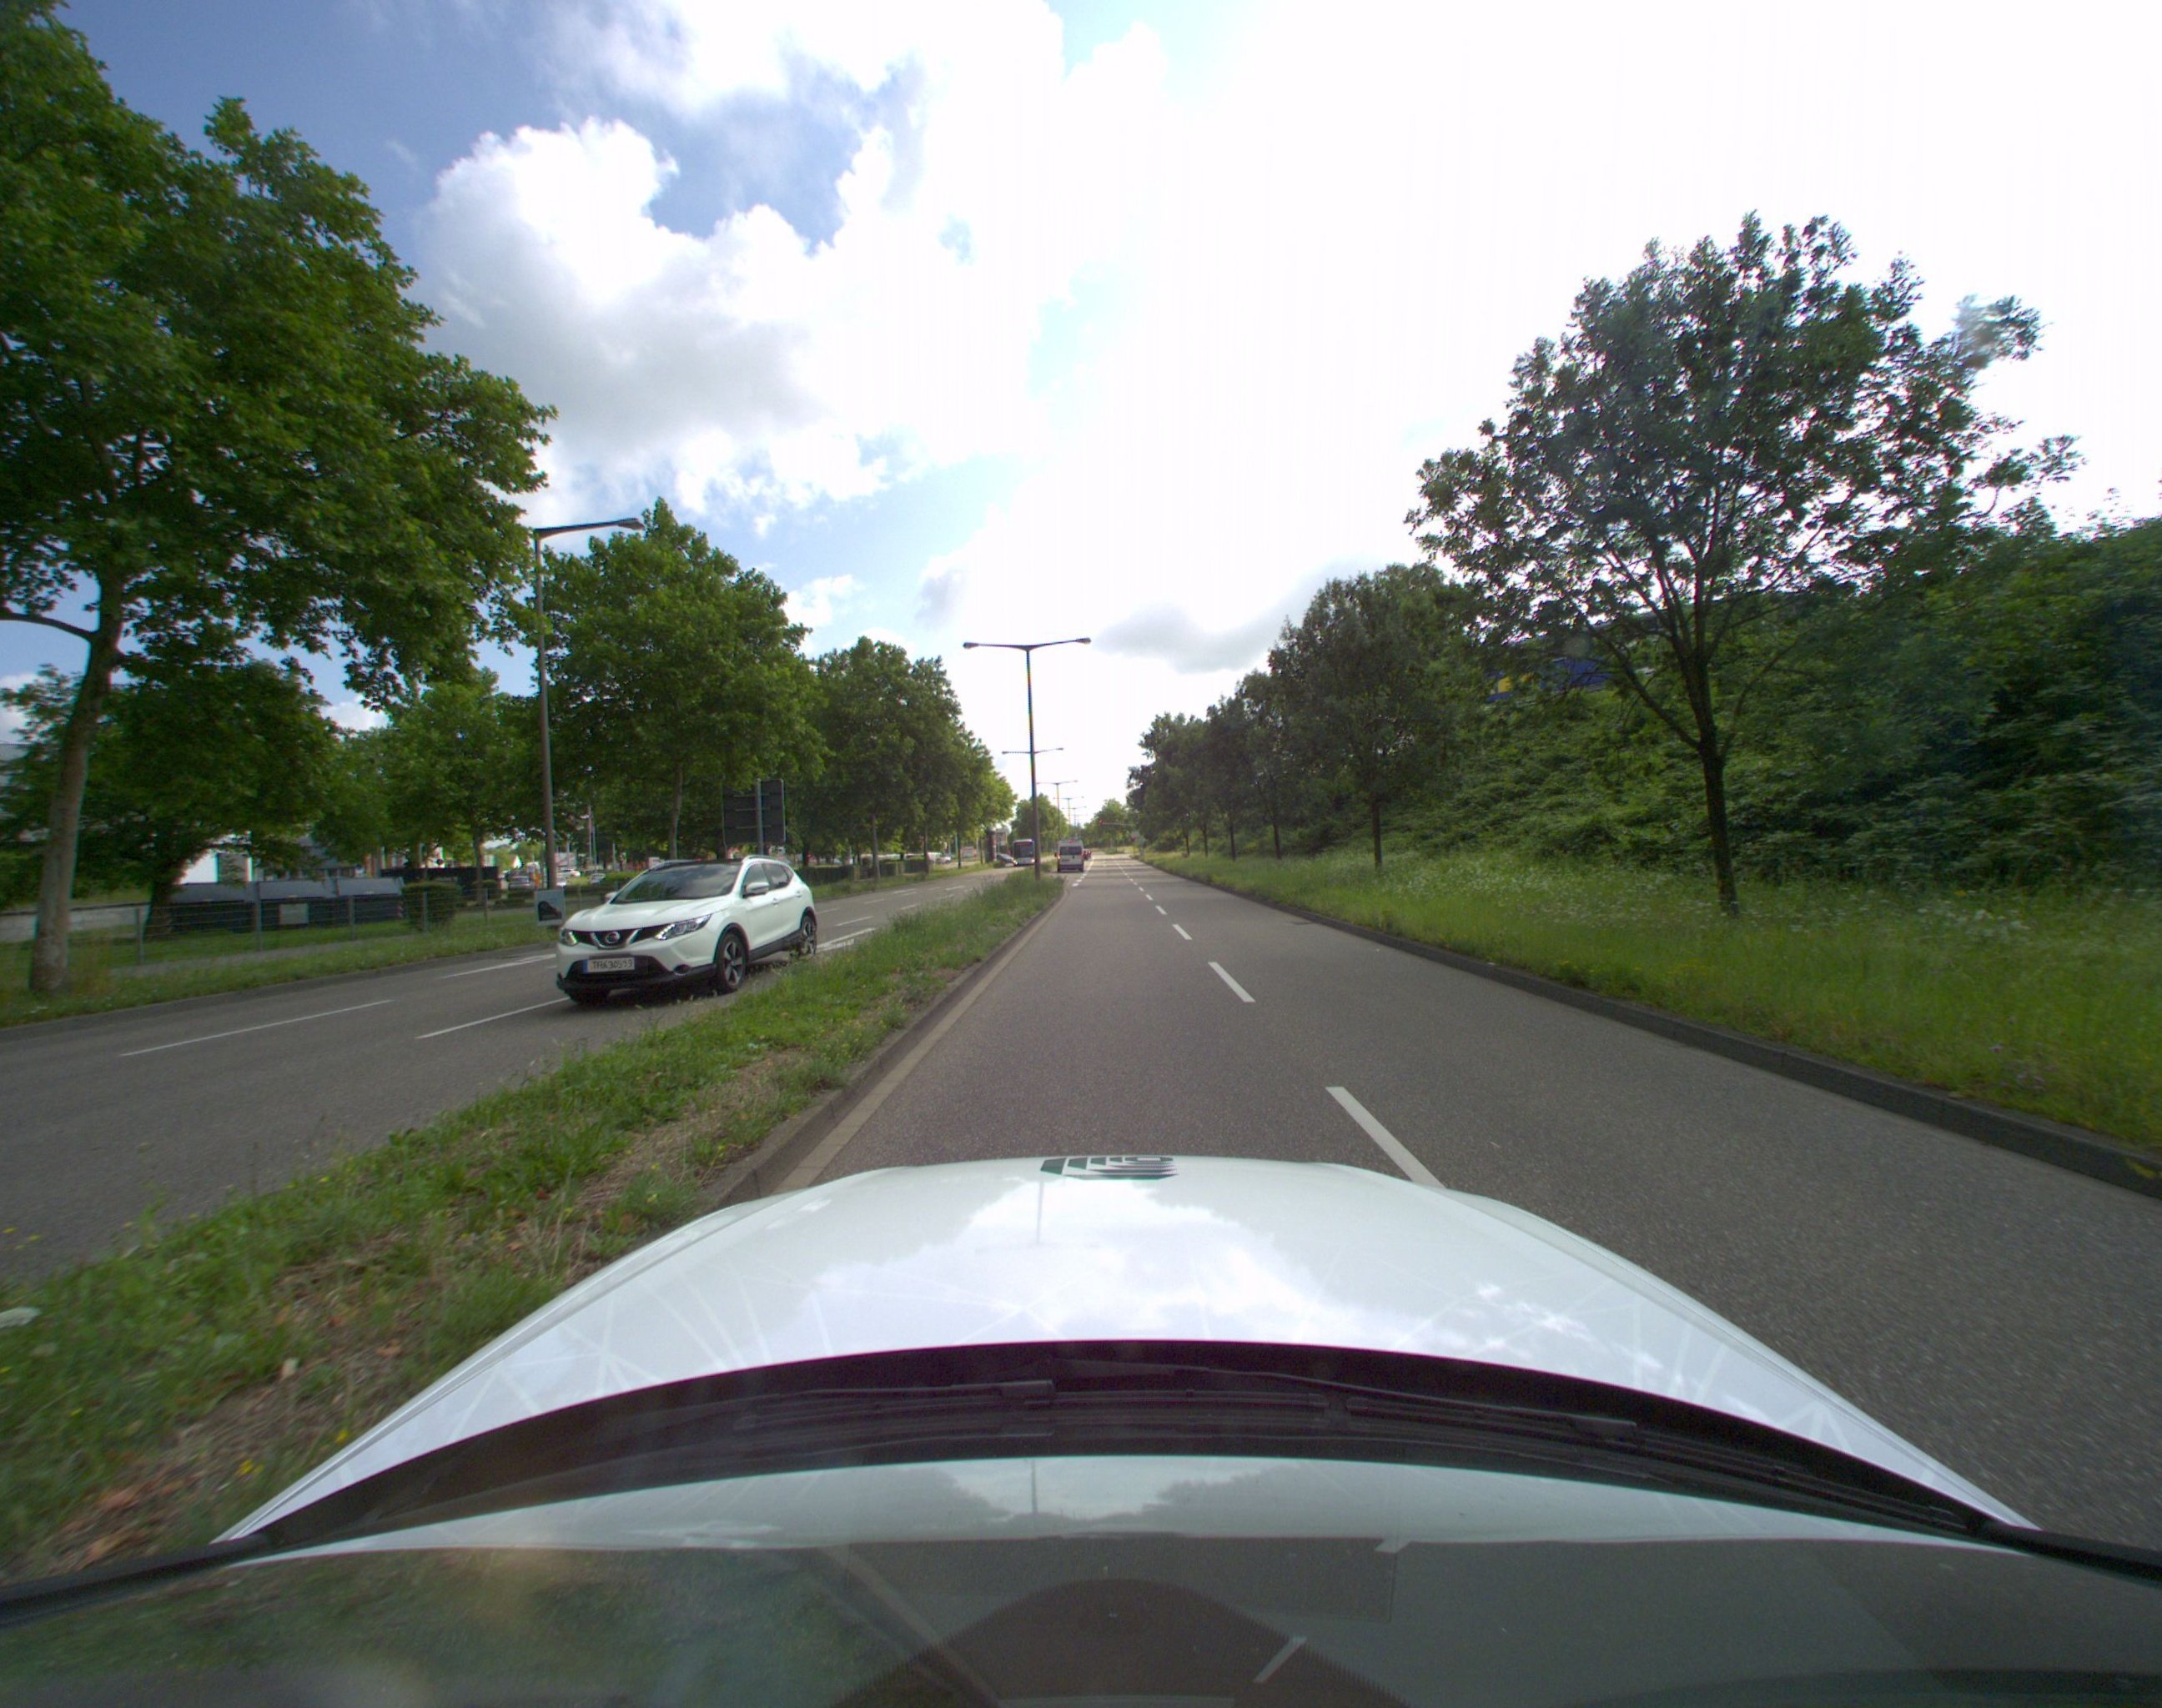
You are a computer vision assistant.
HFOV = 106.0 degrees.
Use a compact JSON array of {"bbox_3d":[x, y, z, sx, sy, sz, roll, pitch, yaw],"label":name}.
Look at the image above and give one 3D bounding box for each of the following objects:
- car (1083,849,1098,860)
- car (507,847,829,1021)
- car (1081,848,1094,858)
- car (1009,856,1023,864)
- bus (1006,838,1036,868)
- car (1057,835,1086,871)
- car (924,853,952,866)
[{"bbox_3d":[1.403,0.049,116.488,1.802,1.470,3.851,-2,0,-4],"label":"car"},{"bbox_3d":[-4.866,0.815,10.447,1.808,1.640,4.350,-4,0,0],"label":"car"},{"bbox_3d":[0.988,-0.212,128.294,1.802,1.470,3.851,-2,0,-4],"label":"car"},{"bbox_3d":[-9.159,0.826,114.931,1.553,1.041,3.415,-2,-1,1],"label":"car"},{"bbox_3d":[-7.180,-0.043,99.256,3.102,3.274,12.324,-3,-1,-3],"label":"bus"},{"bbox_3d":[-0.810,-0.060,64.449,2.191,2.726,4.928,-1,0,-2],"label":"car"},{"bbox_3d":[-23.008,0.877,131.257,4.019,1.838,1.844,2,-5,-38],"label":"car"}]
